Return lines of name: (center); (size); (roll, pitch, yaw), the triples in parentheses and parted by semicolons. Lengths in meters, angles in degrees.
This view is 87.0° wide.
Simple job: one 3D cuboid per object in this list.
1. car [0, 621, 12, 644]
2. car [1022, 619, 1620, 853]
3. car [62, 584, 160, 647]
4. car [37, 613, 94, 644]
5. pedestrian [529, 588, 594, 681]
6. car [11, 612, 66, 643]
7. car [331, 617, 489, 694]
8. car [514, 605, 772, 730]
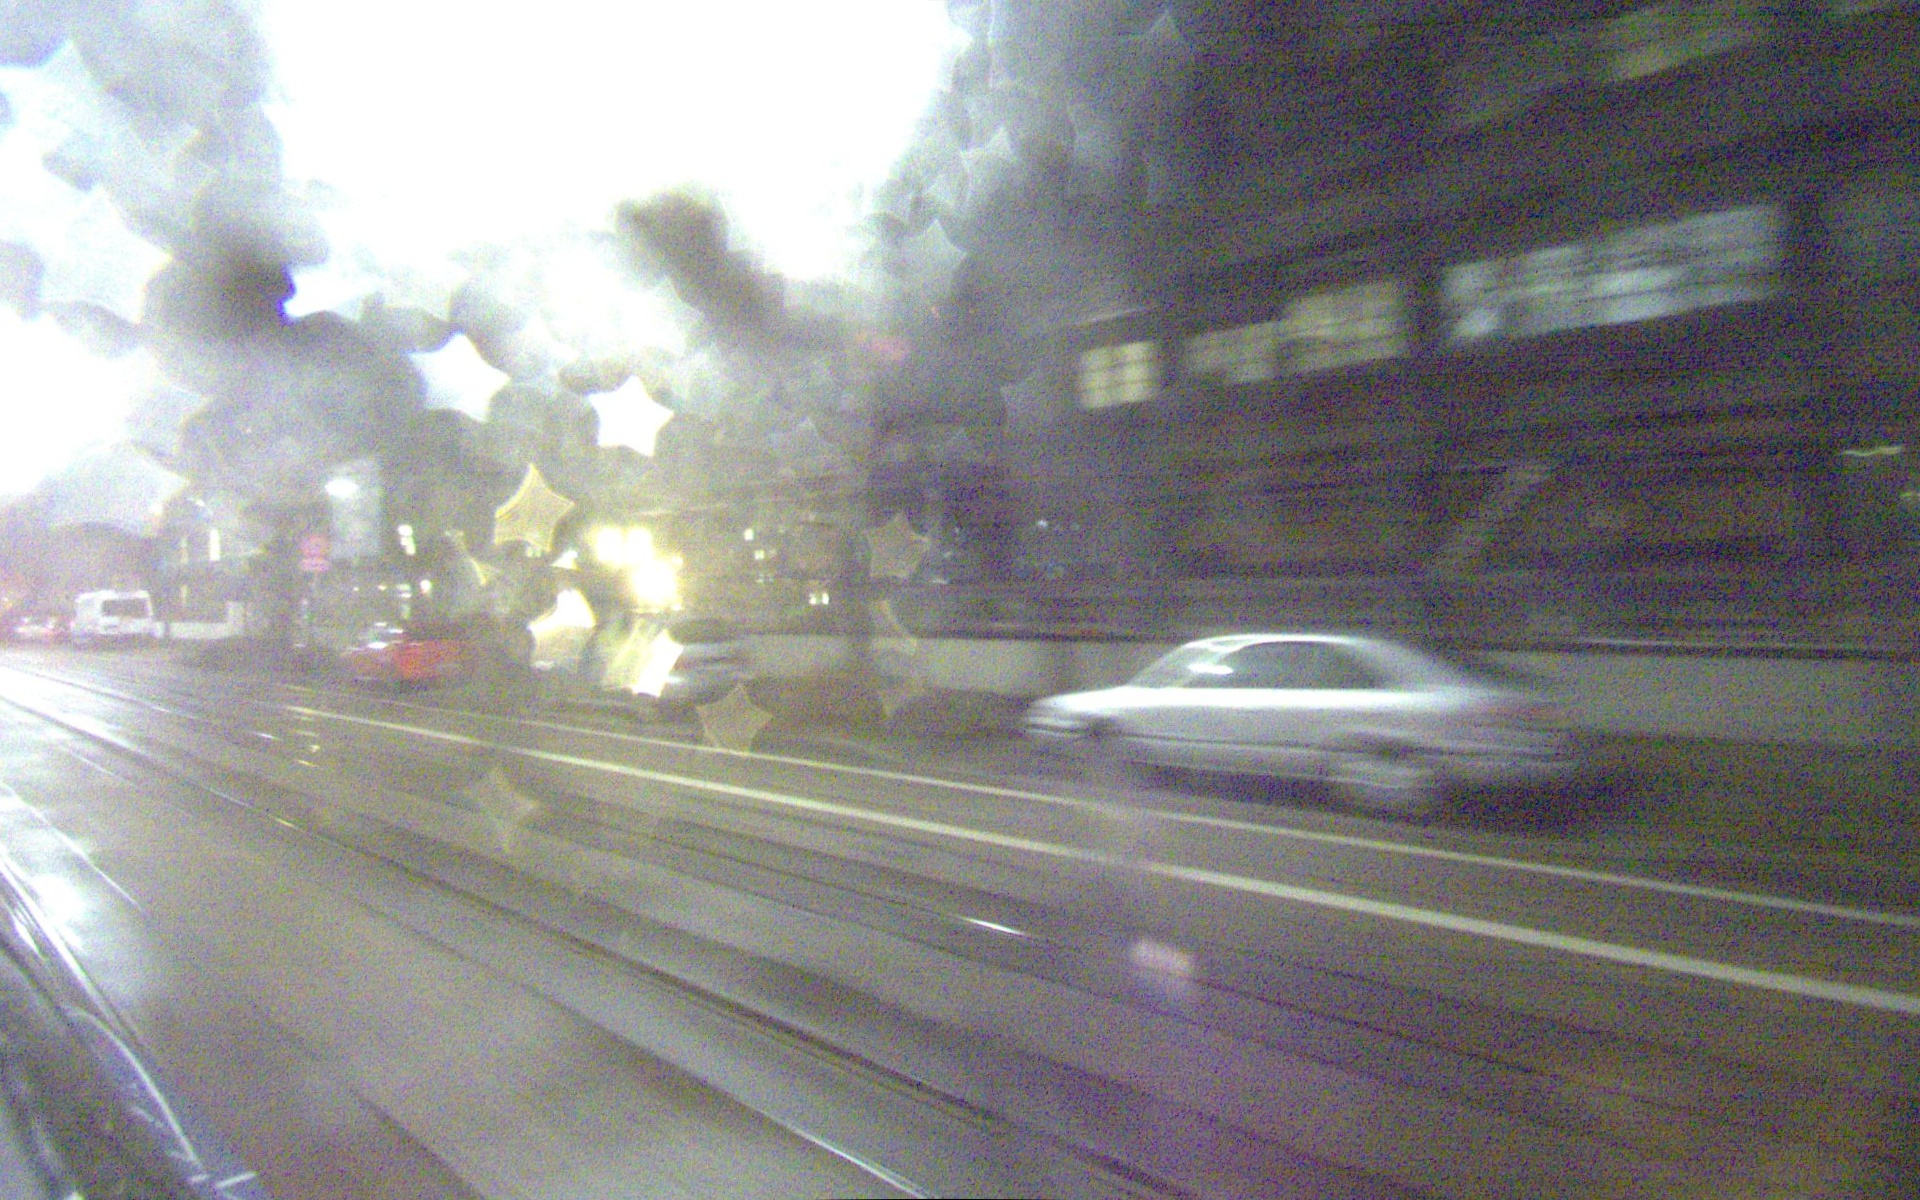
car: (-68.476, 2.293, 71.641); (3.917, 1.586, 1.671); (0, 0, 41)
car: (2.887, 0.935, 8.824); (4.624, 1.449, 1.713); (0, 0, 41)
car: (-36.867, 0.641, 43.909); (5.254, 2.527, 2.221); (0, 2, 39)
car: (-46.015, 1.430, 52.053); (3.388, 1.418, 1.698); (0, 2, 40)
pedestrian: (-8.553, 0.714, 21.712); (1.290, 1.916, 0.784); (0, 0, 41)
car: (-52.533, 1.535, 57.656); (3.661, 1.593, 1.823); (0, 2, 40)
car: (-11.908, 1.120, 21.817); (3.948, 1.467, 1.701); (0, 0, 41)
car: (-5.042, 0.947, 15.800); (4.351, 1.590, 1.791); (-1, 2, 41)
